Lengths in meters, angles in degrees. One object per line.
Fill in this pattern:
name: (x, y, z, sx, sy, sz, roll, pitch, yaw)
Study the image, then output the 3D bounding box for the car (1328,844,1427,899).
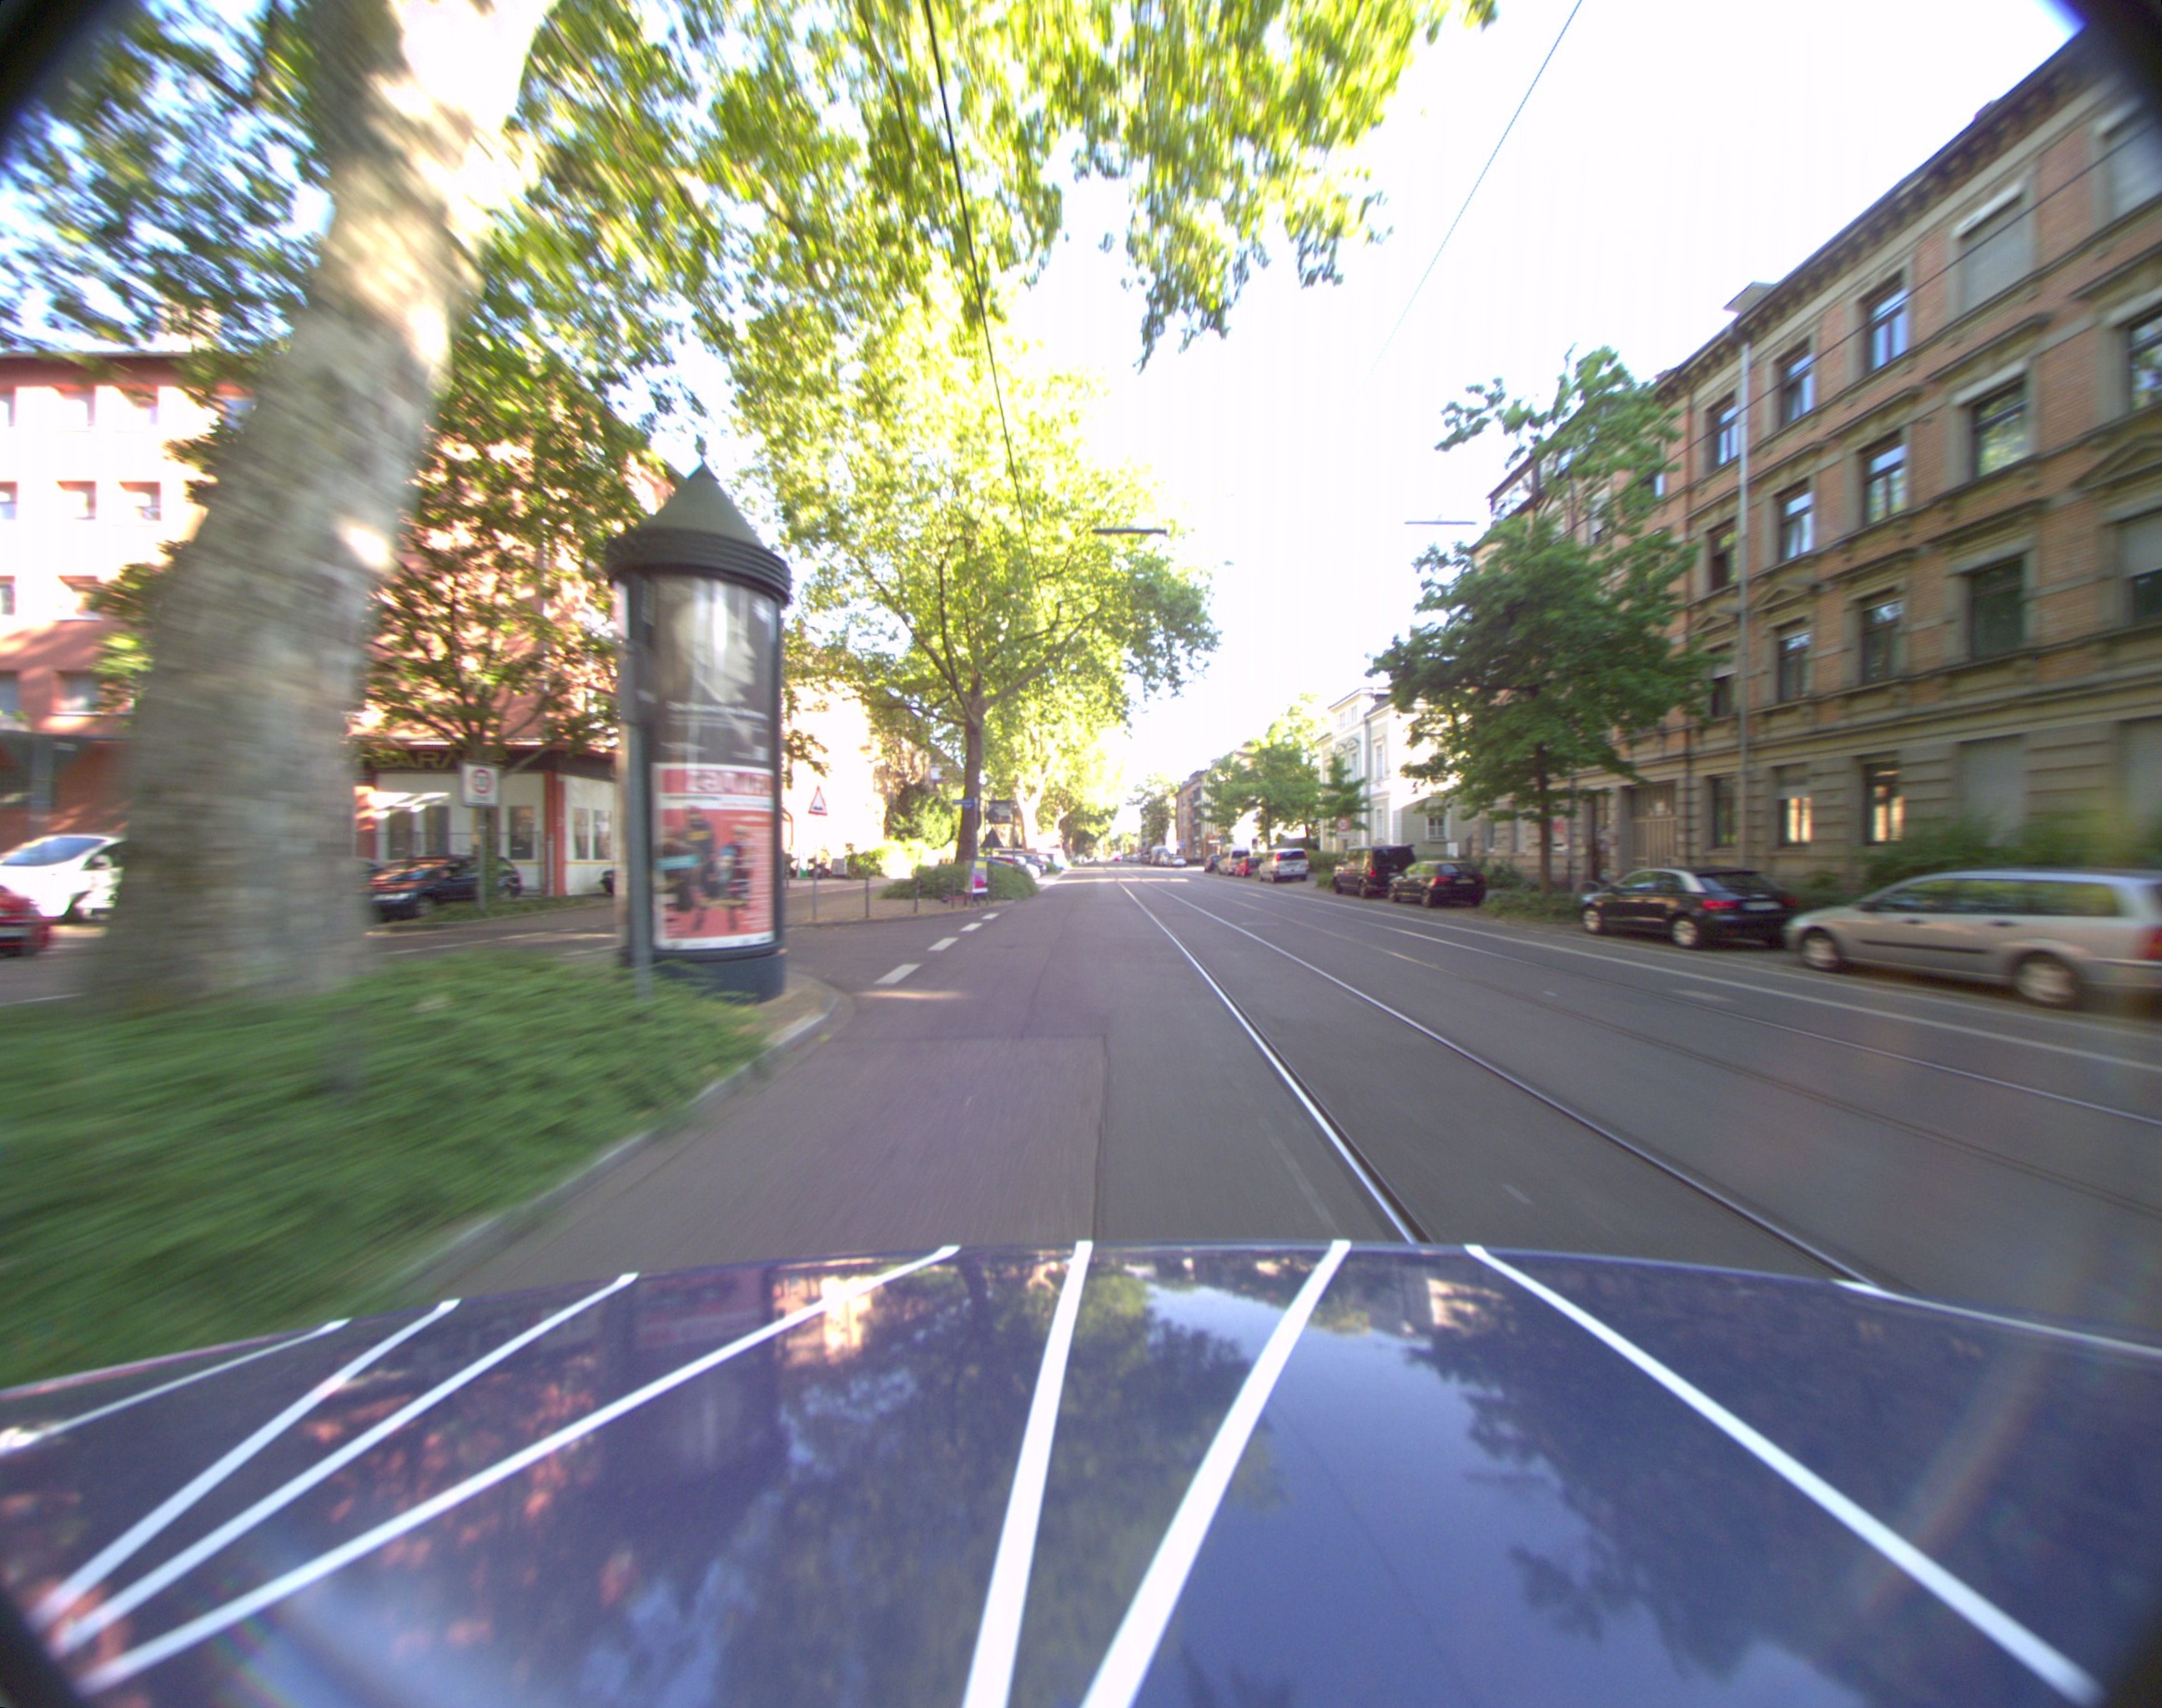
car: (11.527, 0.616, 29.925, 1.999, 2.002, 4.834, 0, 0, 0)

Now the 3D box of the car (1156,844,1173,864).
car: (12.317, -0.060, 112.136, 1.927, 2.730, 4.546, -4, 0, 1)

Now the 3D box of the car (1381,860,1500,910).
car: (11.541, 0.936, 24.736, 1.858, 1.450, 4.269, 0, 0, 0)

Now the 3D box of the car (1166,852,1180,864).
car: (12.138, 0.476, 100.341, 1.574, 1.484, 2.883, -1, 0, 1)

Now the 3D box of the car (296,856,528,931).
car: (-15.732, 0.843, 18.283, 1.794, 1.565, 4.576, 0, 0, -4)

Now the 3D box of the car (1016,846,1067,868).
car: (-3.853, 0.296, 73.932, 4.859, 2.002, 2.193, 1, 0, -2)

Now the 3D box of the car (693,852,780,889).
car: (-14.282, 0.642, 31.756, 1.753, 1.426, 3.950, 1, 0, 1)

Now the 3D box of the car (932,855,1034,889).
car: (-4.585, 0.801, 35.767, 4.411, 1.534, 1.818, 0, 0, 8)

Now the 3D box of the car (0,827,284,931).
car: (-22.803, 0.515, 18.316, 1.917, 2.171, 5.083, 0, 0, -2)

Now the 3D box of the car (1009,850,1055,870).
car: (-4.157, 0.525, 65.309, 3.792, 1.609, 1.790, 1, 0, -1)

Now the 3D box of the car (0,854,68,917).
car: (-27.908, 0.792, 17.995, 1.794, 1.565, 4.576, 0, 0, -3)

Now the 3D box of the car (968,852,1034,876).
car: (-5.390, 0.667, 51.388, 4.209, 1.546, 1.818, 0, 0, 3)

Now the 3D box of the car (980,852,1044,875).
car: (-4.838, 0.670, 53.673, 4.209, 1.565, 1.818, 0, 0, 3)

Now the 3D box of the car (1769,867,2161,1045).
car: (11.052, 0.988, 9.120, 1.703, 1.541, 4.537, -1, 0, 4)

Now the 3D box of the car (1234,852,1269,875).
car: (12.074, 0.641, 54.017, 1.689, 1.530, 3.707, 0, 0, 0)

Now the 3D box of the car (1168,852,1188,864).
car: (12.196, 0.509, 95.569, 1.776, 1.484, 4.940, -1, 0, -2)

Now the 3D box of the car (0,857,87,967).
car: (-16.079, 0.763, 10.058, 3.547, 1.444, 1.683, 0, 0, -1)

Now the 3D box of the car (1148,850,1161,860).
car: (12.601, 0.129, 131.038, 1.791, 1.743, 4.434, -1, 0, 0)

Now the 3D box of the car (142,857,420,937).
car: (-17.962, 0.864, 17.475, 1.794, 1.565, 4.576, 0, 0, -4)

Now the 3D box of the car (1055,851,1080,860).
car: (-2.546, 0.264, 142.551, 4.610, 1.631, 1.893, 1, 0, 4)

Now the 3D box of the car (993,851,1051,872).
car: (-4.512, 0.568, 58.682, 4.209, 1.609, 1.818, 0, 1, 3)

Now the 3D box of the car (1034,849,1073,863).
car: (-3.536, 0.271, 97.574, 4.810, 1.621, 1.893, 1, 0, 1)

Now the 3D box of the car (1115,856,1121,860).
car: (11.905, 1.287, 242.358, 1.769, 1.448, 3.586, 0, 0, 1)

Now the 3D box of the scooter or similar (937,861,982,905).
scooter or similar: (-3.536, 0.829, 22.116, 1.211, 1.233, 0.569, 1, 1, -1)

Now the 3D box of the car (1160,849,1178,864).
car: (12.245, 0.306, 106.186, 1.928, 2.034, 4.941, -1, 0, 0)

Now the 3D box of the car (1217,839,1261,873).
car: (12.199, 0.141, 59.066, 2.310, 2.493, 5.343, 0, 0, -1)

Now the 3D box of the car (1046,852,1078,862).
car: (-2.873, 0.439, 113.218, 4.610, 1.485, 1.893, 1, 0, 4)

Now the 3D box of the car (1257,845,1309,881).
car: (11.628, 0.503, 44.121, 1.848, 1.977, 4.988, 0, 0, 2)

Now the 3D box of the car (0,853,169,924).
car: (-25.118, 0.776, 17.924, 1.794, 1.565, 4.576, 0, 0, -3)

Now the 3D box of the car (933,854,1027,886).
car: (-5.069, 0.780, 38.375, 4.413, 1.534, 1.952, 0, 0, 3)

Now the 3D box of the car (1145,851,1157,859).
car: (12.964, 0.223, 140.896, 1.791, 1.462, 4.435, -1, 0, 0)

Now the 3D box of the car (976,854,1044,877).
car: (-4.531, 0.736, 48.853, 4.210, 1.439, 1.817, 0, 0, 1)

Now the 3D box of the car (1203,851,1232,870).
car: (12.233, 0.575, 68.301, 1.997, 1.680, 4.262, 0, 0, 3)

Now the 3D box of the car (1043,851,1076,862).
car: (-3.072, 0.378, 111.001, 4.610, 1.485, 1.893, 1, 0, 4)

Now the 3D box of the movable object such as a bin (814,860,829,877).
movable object such as a bin: (-14.739, 0.832, 43.186, 0.658, 0.935, 0.447, 0, 2, 6)

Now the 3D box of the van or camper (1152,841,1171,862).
van or camper: (12.581, -0.422, 118.778, 2.423, 2.960, 5.991, -4, 0, 2)

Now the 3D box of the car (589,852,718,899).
car: (-14.275, 0.653, 25.719, 1.753, 1.426, 4.468, 1, 0, 1)

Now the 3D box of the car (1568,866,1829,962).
car: (11.139, 0.997, 14.113, 1.662, 1.437, 3.949, -1, 0, 0)

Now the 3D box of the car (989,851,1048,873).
car: (-4.587, 0.590, 55.982, 4.211, 1.609, 1.878, 0, 0, -2)

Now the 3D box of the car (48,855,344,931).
car: (-20.510, 0.811, 18.002, 1.794, 1.565, 4.576, 0, 0, -3)
